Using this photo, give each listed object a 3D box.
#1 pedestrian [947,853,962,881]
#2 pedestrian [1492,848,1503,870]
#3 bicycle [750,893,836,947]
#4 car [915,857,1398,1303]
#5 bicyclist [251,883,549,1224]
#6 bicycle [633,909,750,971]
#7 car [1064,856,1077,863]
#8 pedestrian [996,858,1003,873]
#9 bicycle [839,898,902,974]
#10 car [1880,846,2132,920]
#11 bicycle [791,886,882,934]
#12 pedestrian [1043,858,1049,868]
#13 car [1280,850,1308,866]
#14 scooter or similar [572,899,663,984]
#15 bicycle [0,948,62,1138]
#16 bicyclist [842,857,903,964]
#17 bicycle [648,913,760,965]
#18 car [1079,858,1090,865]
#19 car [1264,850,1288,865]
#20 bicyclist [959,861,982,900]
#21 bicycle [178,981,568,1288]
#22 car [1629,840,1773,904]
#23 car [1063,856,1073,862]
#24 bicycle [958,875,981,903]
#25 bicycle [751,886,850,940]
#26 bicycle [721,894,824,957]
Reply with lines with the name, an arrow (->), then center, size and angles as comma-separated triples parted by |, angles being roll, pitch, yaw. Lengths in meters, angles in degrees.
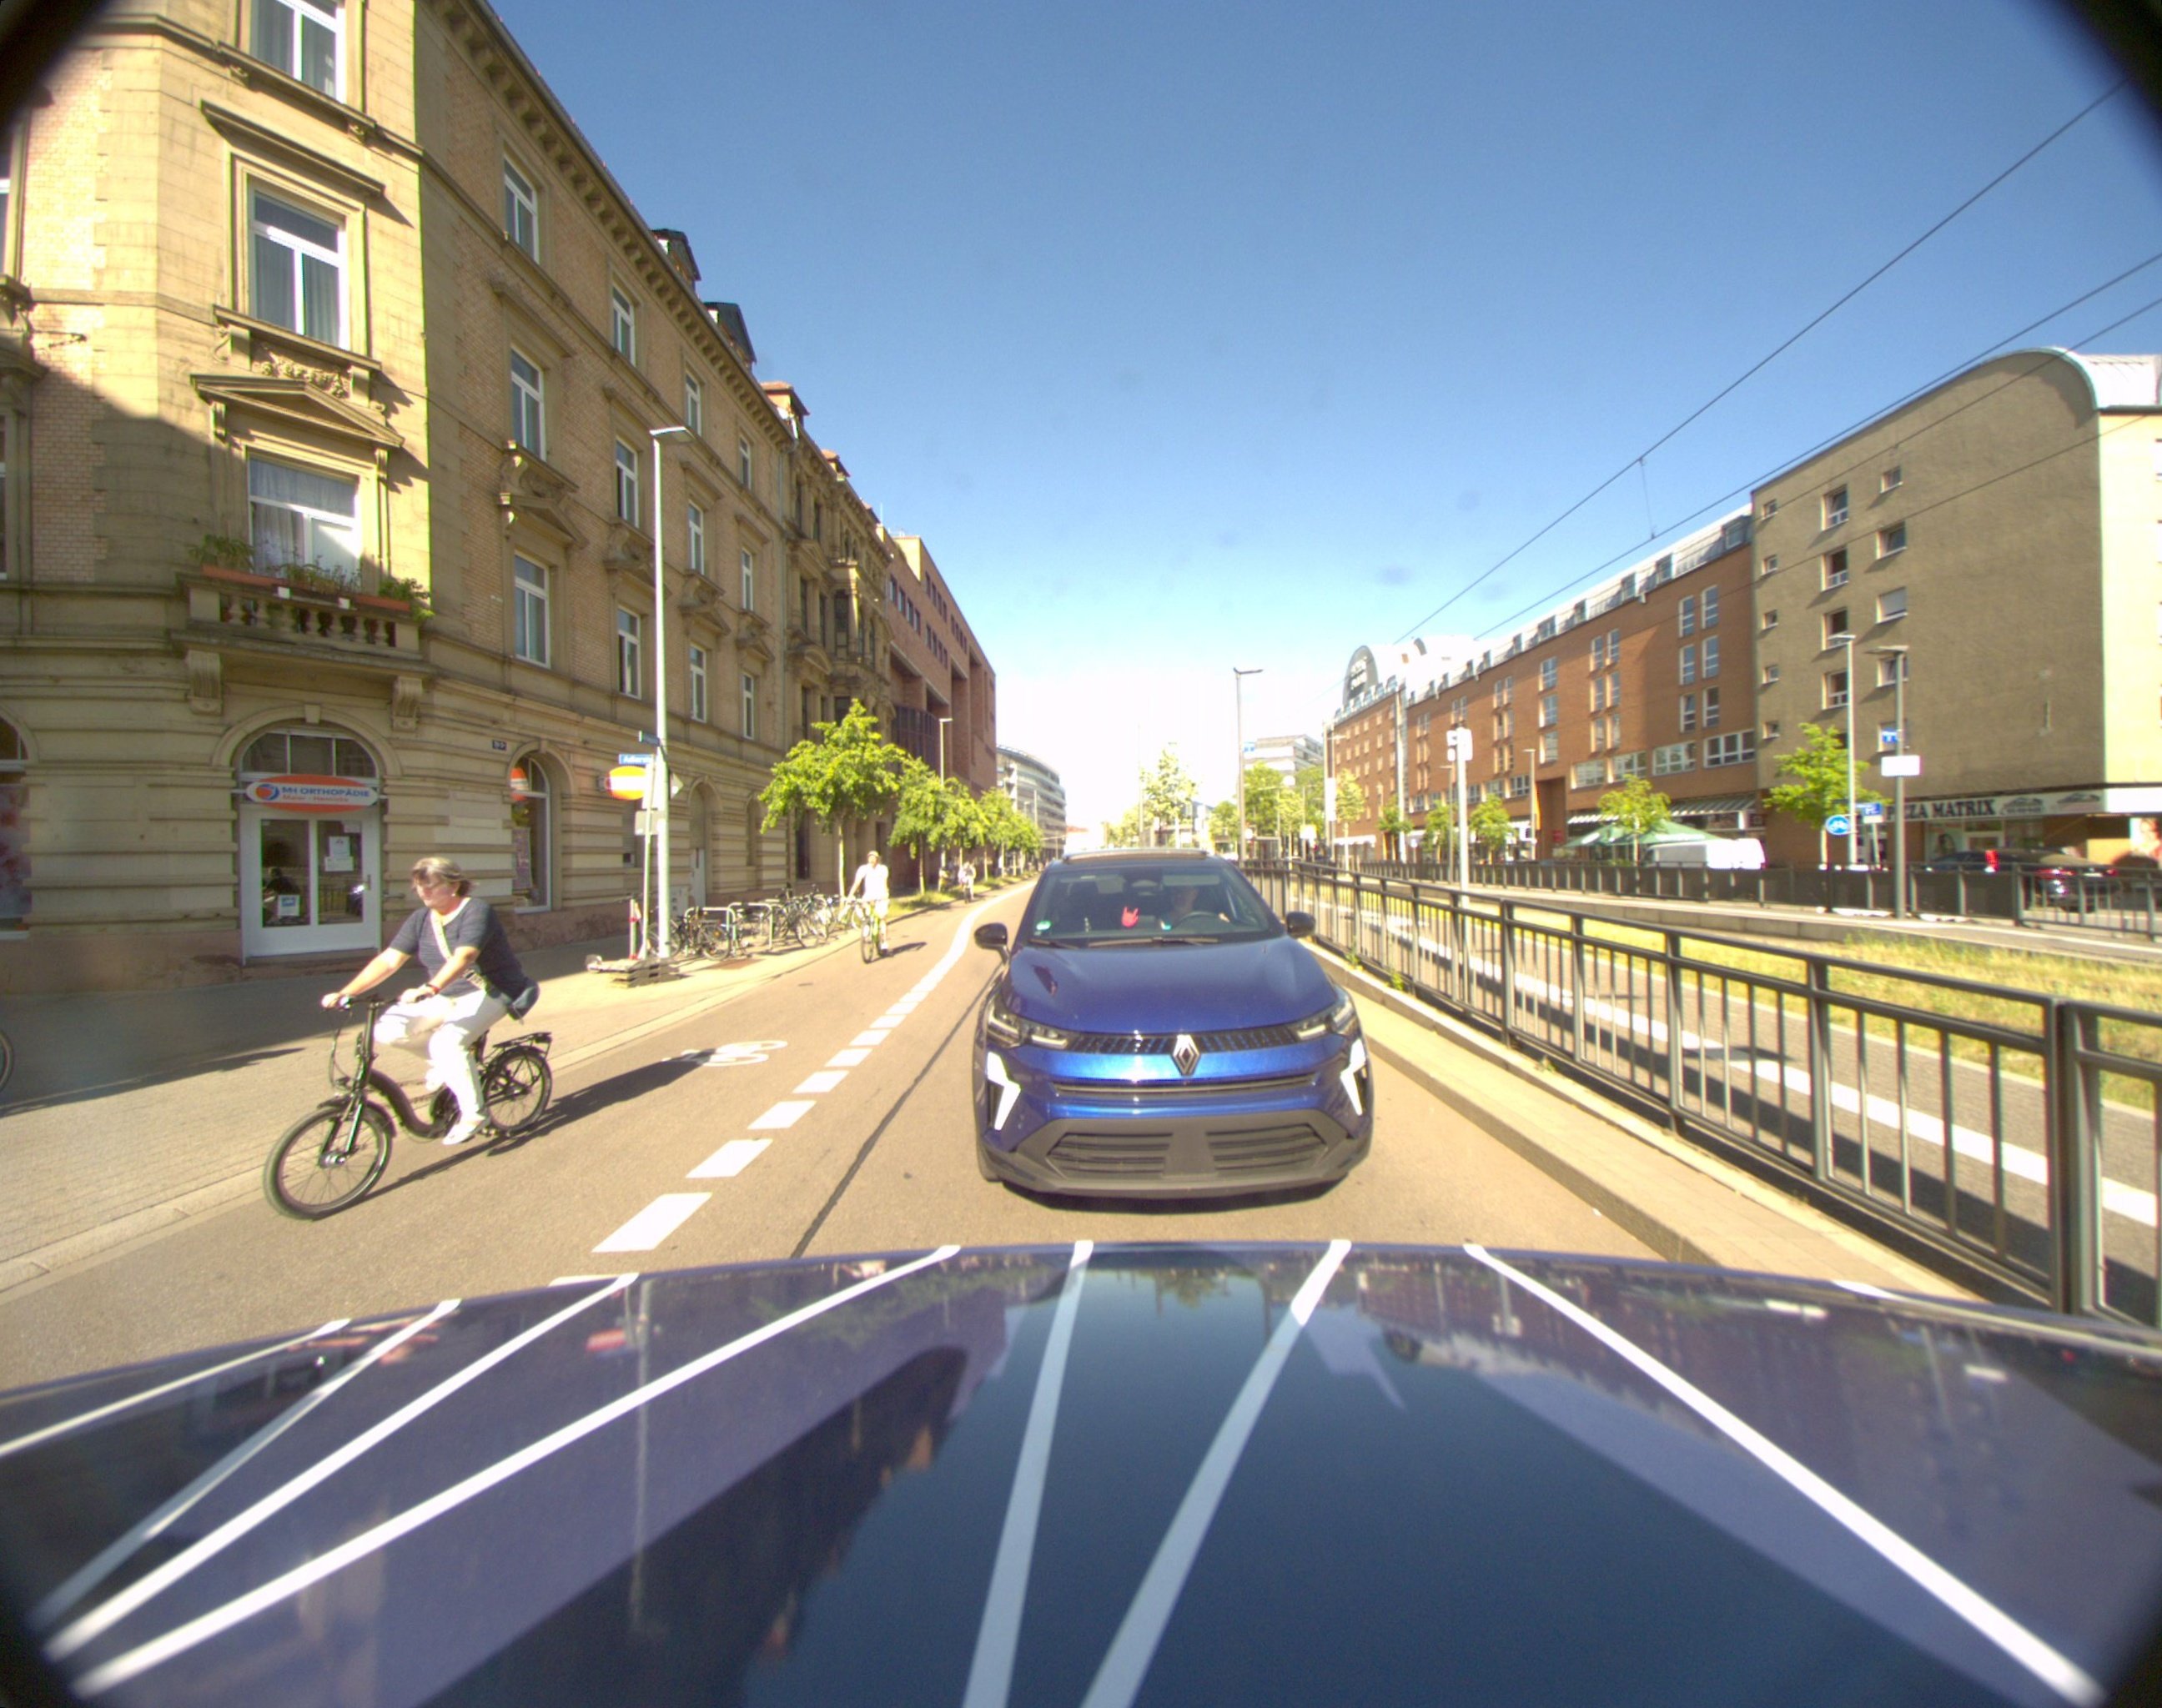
pedestrian -> -8.512, 0.881, 51.253 | 0.790, 1.872, 1.106 | -1, 1, 0
pedestrian -> 35.620, 0.445, 64.968 | 0.622, 1.830, 0.644 | -1, 1, -1
bicycle -> -6.127, 1.394, 16.199 | 1.603, 1.039, 0.607 | 1, 0, 4
car -> 0.322, 0.890, 4.937 | 1.802, 1.596, 3.999 | -2, 1, 1
bicyclist -> -3.488, 0.948, 3.992 | 0.659, 1.528, 0.909 | -3, 0, 0
bicycle -> -6.394, 1.396, 12.503 | 1.673, 0.938, 0.607 | 0, 0, 8
car -> -2.381, 1.259, 173.840 | 2.120, 1.547, 4.003 | -1, 0, 9
pedestrian -> -7.926, 1.105, 73.919 | 0.633, 1.478, 0.736 | -1, 1, 0
bicycle -> -3.511, 1.340, 12.792 | 0.578, 1.090, 1.507 | -3, 0, 0
car -> 24.230, 0.692, 20.173 | 1.819, 1.749, 4.000 | -1, 0, 0
bicycle -> -6.020, 1.377, 18.811 | 2.001, 1.086, 0.846 | 1, 0, -9
pedestrian -> -4.972, 1.260, 106.982 | 0.774, 1.478, 0.686 | -1, 0, 1
car -> 23.914, 0.447, 85.266 | 1.998, 1.674, 3.999 | -2, 1, 1
scooter or similar -> -6.765, 1.267, 11.098 | 1.113, 1.183, 0.419 | 0, 0, 8
bicycle -> -7.437, 1.271, 4.360 | 0.585, 1.215, 1.900 | -1, 0, 0
bicyclist -> -3.505, 0.929, 12.853 | 0.684, 1.718, 0.909 | -3, 0, 0
bicycle -> -6.522, 1.460, 13.171 | 1.673, 0.816, 0.607 | 0, 0, 7
car -> 0.774, 1.690, 172.429 | 1.882, 1.455, 4.002 | -2, 1, 8
car -> 24.376, 0.446, 95.096 | 1.998, 1.674, 3.999 | -2, 1, 1
bicyclist -> -4.640, 1.100, 31.917 | 0.755, 1.607, 0.762 | -3, 0, 4
bicycle -> -3.495, 1.311, 3.958 | 0.558, 1.021, 1.507 | -3, 0, 0
car -> 25.349, 0.669, 31.416 | 1.997, 2.356, 5.649 | -1, 0, 8
car -> -3.164, 1.289, 189.665 | 1.882, 1.455, 4.001 | -2, 1, 7
bicycle -> -4.644, 1.448, 31.732 | 0.578, 1.090, 1.507 | -3, 0, 3
bicycle -> -6.447, 1.346, 17.515 | 1.999, 1.121, 0.710 | 1, 0, 2
bicycle -> -5.924, 1.363, 14.641 | 1.727, 1.094, 0.607 | 1, 0, 4
